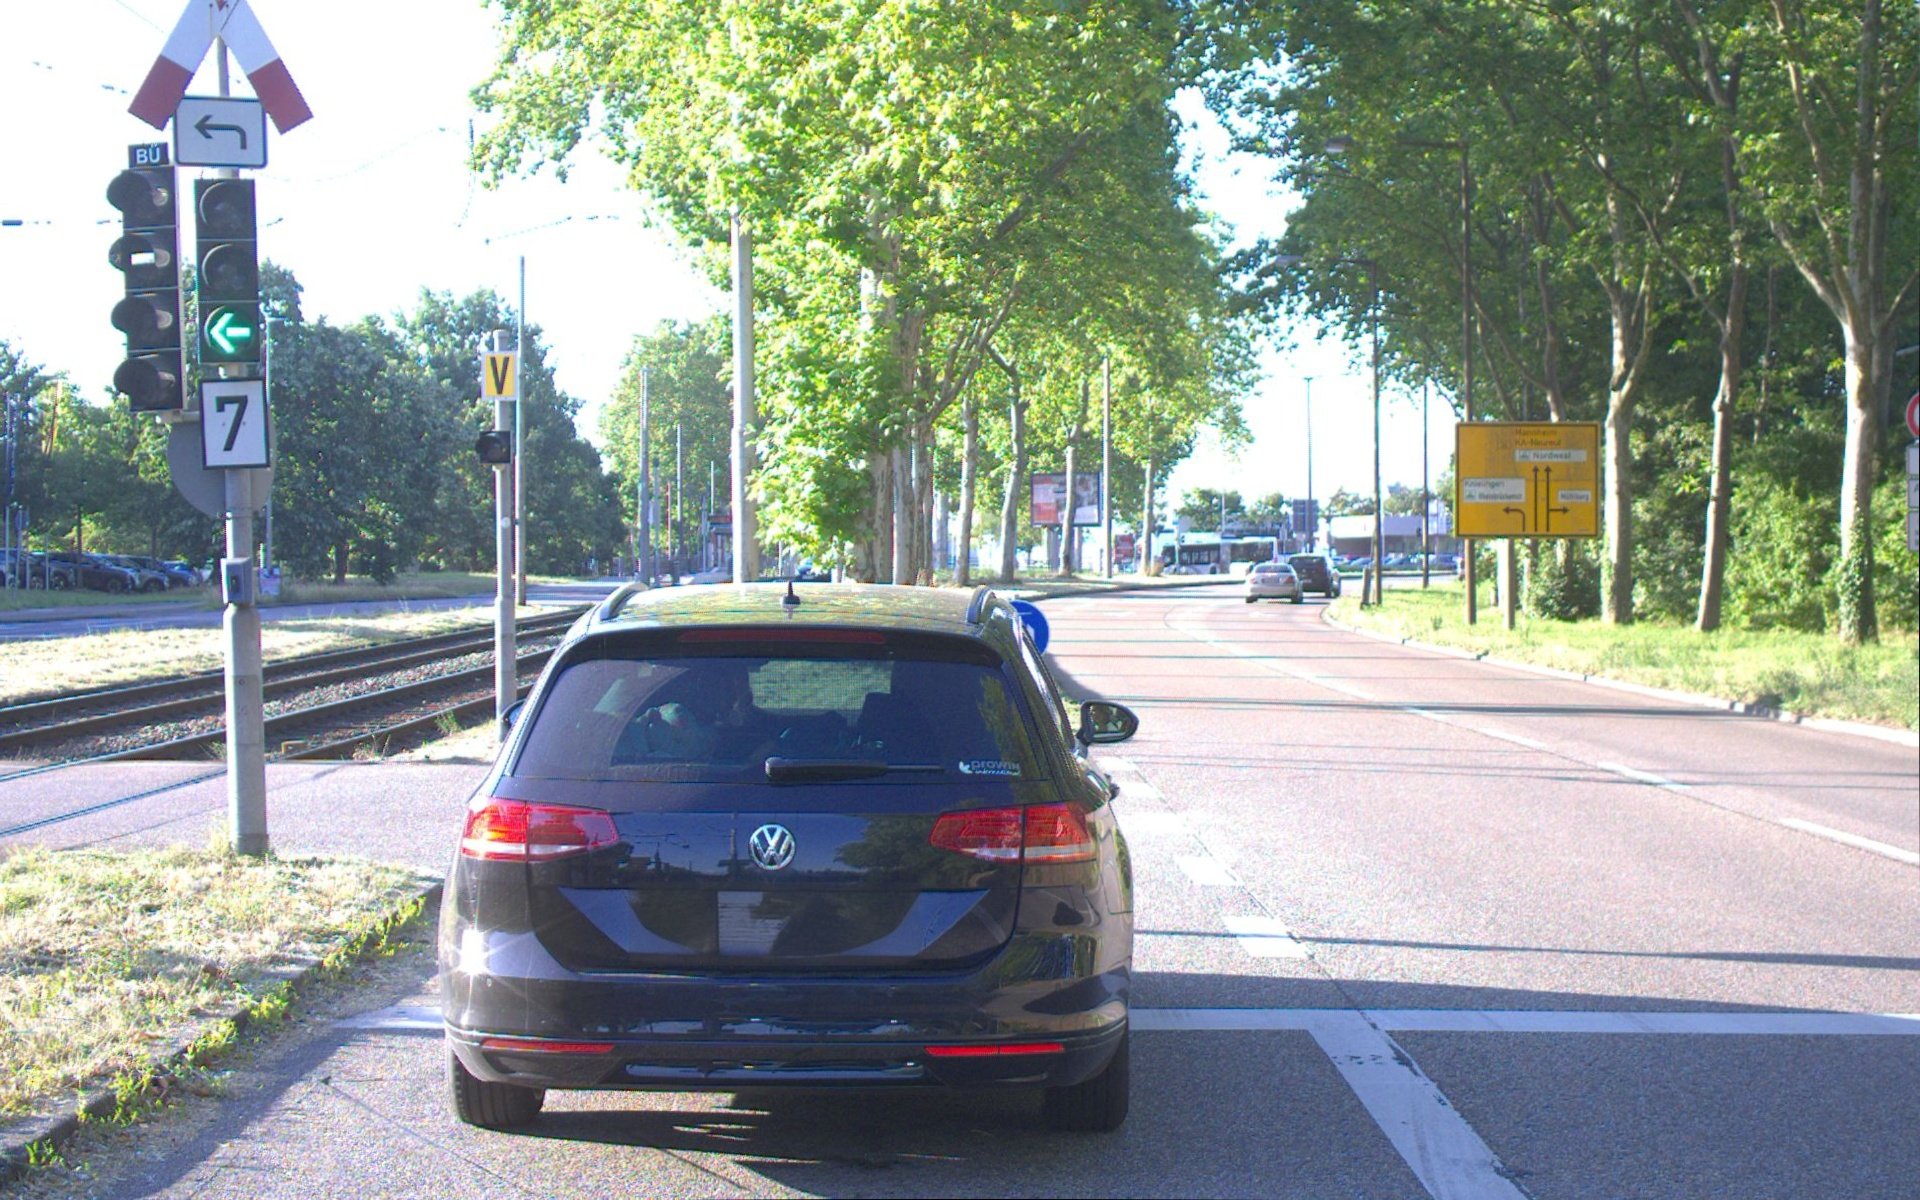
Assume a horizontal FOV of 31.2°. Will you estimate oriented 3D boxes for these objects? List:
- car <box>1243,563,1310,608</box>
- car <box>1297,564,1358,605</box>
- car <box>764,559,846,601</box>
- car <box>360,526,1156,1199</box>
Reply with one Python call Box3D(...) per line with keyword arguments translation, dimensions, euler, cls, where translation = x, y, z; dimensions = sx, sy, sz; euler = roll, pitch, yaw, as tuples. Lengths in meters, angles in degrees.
Box3D(translation=(10.347, -0.485, 112.574), dimensions=(1.994, 1.437, 4.000), euler=(1, 0, 3), cls="car")
Box3D(translation=(13.151, -0.554, 122.878), dimensions=(1.994, 1.435, 3.999), euler=(1, 0, 8), cls="car")
Box3D(translation=(-6.278, -0.830, 139.447), dimensions=(1.811, 1.678, 3.995), euler=(1, 1, 23), cls="car")
Box3D(translation=(-0.540, 0.607, 10.108), dimensions=(1.824, 1.550, 4.259), euler=(1, 0, -2), cls="car")
